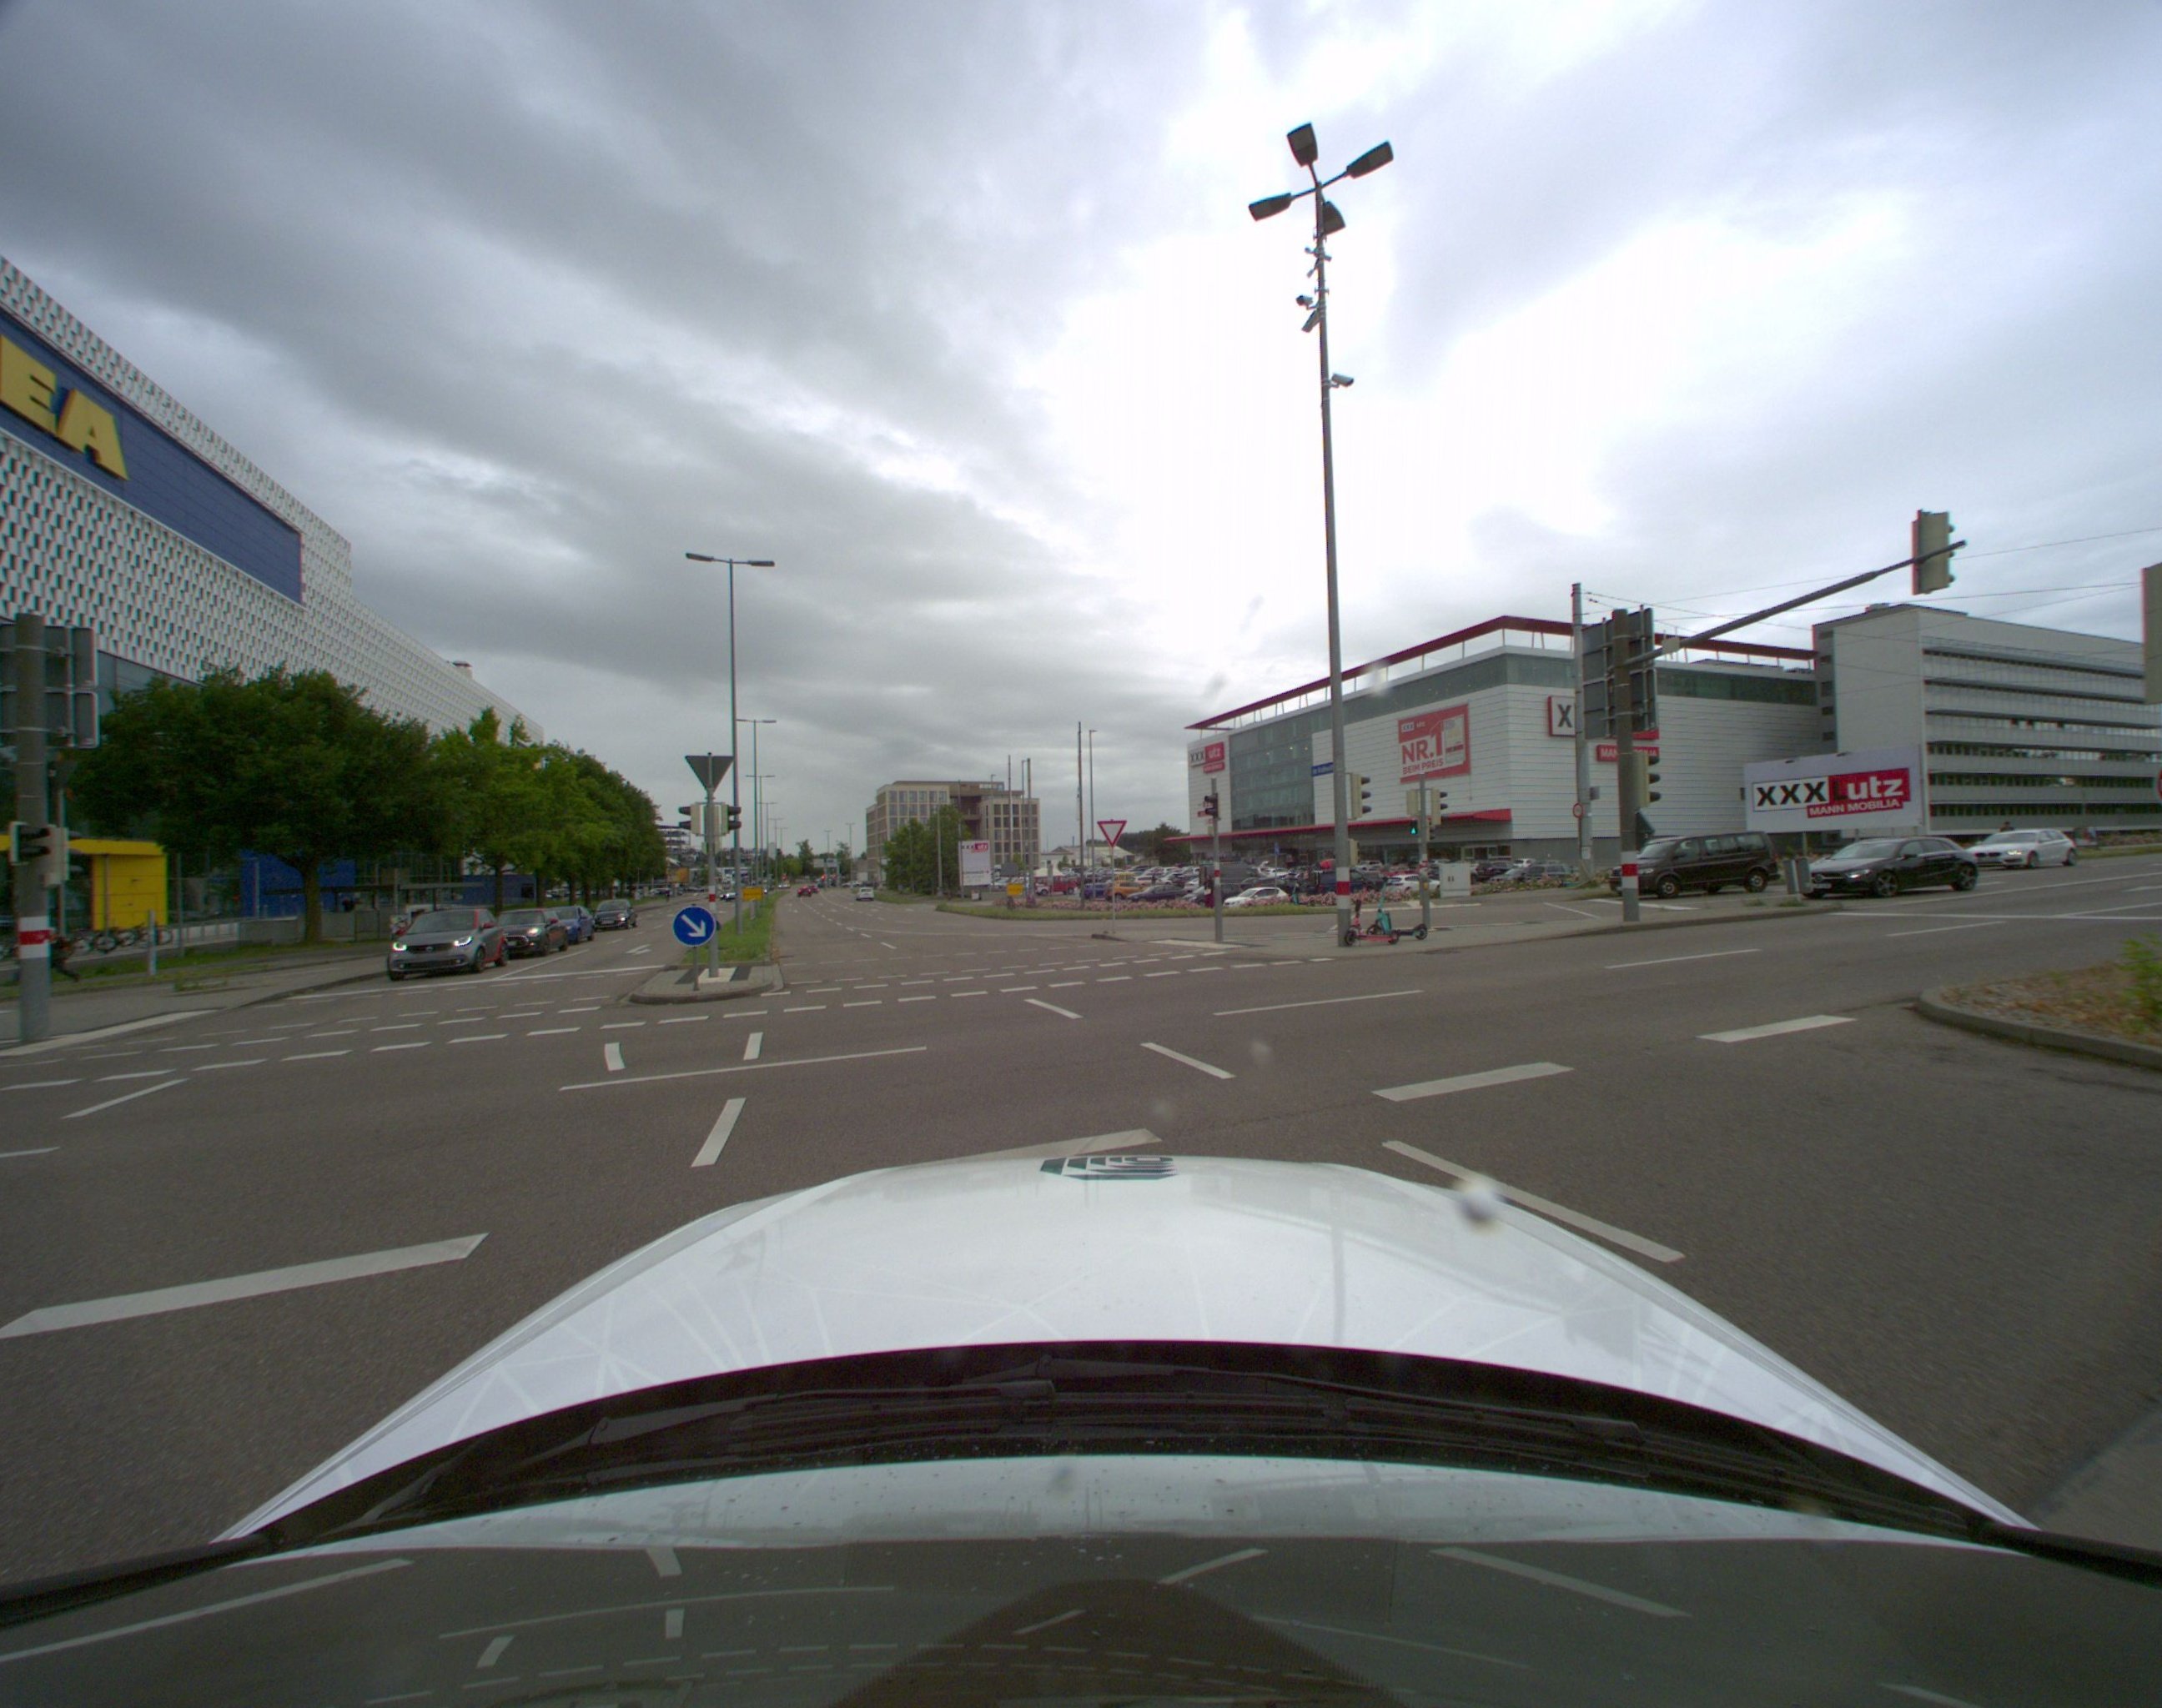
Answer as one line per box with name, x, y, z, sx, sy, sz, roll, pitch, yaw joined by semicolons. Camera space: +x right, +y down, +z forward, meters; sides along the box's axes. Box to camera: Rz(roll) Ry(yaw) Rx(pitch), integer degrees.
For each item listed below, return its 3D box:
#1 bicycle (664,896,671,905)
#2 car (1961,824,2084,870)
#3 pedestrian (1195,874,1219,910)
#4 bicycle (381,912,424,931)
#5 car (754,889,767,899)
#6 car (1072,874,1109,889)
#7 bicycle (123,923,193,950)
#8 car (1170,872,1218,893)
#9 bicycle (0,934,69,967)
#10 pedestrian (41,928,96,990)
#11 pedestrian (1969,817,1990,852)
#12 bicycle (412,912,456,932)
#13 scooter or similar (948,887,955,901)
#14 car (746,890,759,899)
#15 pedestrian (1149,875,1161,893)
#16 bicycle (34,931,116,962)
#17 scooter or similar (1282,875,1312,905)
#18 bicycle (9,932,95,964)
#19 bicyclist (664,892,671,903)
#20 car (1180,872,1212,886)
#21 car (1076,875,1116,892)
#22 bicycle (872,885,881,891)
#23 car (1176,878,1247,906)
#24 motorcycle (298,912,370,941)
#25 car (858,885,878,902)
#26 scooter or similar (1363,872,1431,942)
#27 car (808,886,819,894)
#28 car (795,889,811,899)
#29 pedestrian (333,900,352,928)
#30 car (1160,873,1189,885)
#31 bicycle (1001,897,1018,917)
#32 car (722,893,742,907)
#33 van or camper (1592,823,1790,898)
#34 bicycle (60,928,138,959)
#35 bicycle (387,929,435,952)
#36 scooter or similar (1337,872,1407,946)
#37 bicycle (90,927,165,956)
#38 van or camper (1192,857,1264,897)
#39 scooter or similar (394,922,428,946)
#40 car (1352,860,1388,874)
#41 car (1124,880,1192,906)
bicycle;-55.817;6.273;109.862;0.645;1.251;2.041;0;-2;-21
car;34.814;-0.278;30.113;4.048;1.539;1.721;-2;1;-21
pedestrian;5.741;1.732;37.072;0.707;1.597;0.788;-6;-5;37
bicycle;-39.913;3.967;47.943;1.816;1.082;0.589;1;-2;-21
car;-53.518;6.636;135.896;1.938;1.486;4.407;-3;-1;-21
car;1.159;3.311;99.343;4.183;1.664;1.822;-1;-2;-18
bicycle;-42.877;3.834;37.866;2.026;1.157;0.588;1;-2;-27
car;10.273;2.574;74.025;3.907;1.654;1.818;-3;0;-22
bicycle;-40.472;3.686;31.217;2.024;1.157;0.589;0;-2;-23
pedestrian;-28.386;2.919;22.848;0.636;1.643;0.803;-1;-3;-23
pedestrian;47.243;-1.026;42.803;0.635;1.781;0.542;-1;0;-22
bicycle;-38.576;4.076;48.587;2.013;1.157;0.592;0;-2;-7
scooter or similar;-13.889;4.275;87.275;0.650;1.421;1.811;-2;-2;-11
car;-60.163;7.391;149.242;1.873;1.454;4.139;-3;-1;-20
pedestrian;7.311;2.923;80.475;0.943;1.719;0.879;-1;0;-22
bicycle;-41.126;3.767;33.316;2.024;1.157;0.589;0;-2;-23
scooter or similar;9.126;1.527;34.425;1.150;1.233;0.348;-3;-4;31
bicycle;-40.755;3.719;32.284;2.024;1.157;0.589;0;-2;-23
bicyclist;-55.808;5.868;109.899;0.642;1.577;0.993;0;-2;-21
car;14.704;3.201;104.260;3.576;1.587;1.730;-1;-2;-16
car;1.782;3.485;96.671;4.324;1.744;1.877;-1;0;-18
bicycle;-41.856;7.006;166.828;1.985;1.295;0.706;-2;-1;34
car;8.243;2.368;51.405;4.106;1.583;1.757;-1;0;-20
motorcycle;-37.588;3.640;41.034;2.509;1.356;0.792;1;-3;-33
car;-24.983;4.634;95.534;1.999;1.752;4.154;-1;0;-18
scooter or similar;6.021;1.008;15.539;1.111;1.256;0.320;-3;-3;-8
car;-47.493;6.390;144.564;1.840;1.515;3.973;1;-3;-19
car;-40.421;5.846;118.363;1.995;1.428;4.210;-1;-2;-21
pedestrian;-47.685;3.895;52.581;0.679;1.746;0.802;-1;-1;-21
car;12.810;3.398;111.439;3.576;1.587;1.730;-1;-2;-16
bicycle;-3.983;2.907;45.165;0.664;1.049;1.683;-1;-2;-14
car;-42.983;5.684;100.433;1.937;1.519;4.153;-4;-1;-20
van or camper;19.377;0.248;26.019;4.729;2.014;2.120;-4;-3;-5
bicycle;-41.540;3.779;34.469;2.024;1.157;0.589;0;-2;-23
bicycle;-36.359;4.712;44.228;1.900;1.157;0.589;1;-2;-21
scooter or similar;5.254;0.991;14.744;1.014;1.256;0.463;-3;-3;-8
bicycle;-41.977;3.836;35.897;2.030;1.157;0.587;1;-2;-34
van or camper;11.998;1.858;66.537;5.385;2.984;1.982;-2;-2;-13
scooter or similar;-34.339;4.084;41.734;0.420;1.148;1.353;-1;-2;11
car;34.911;1.567;98.261;3.807;1.554;1.818;-1;0;-21
car;5.483;2.760;58.304;4.535;1.583;1.760;-1;0;-16
